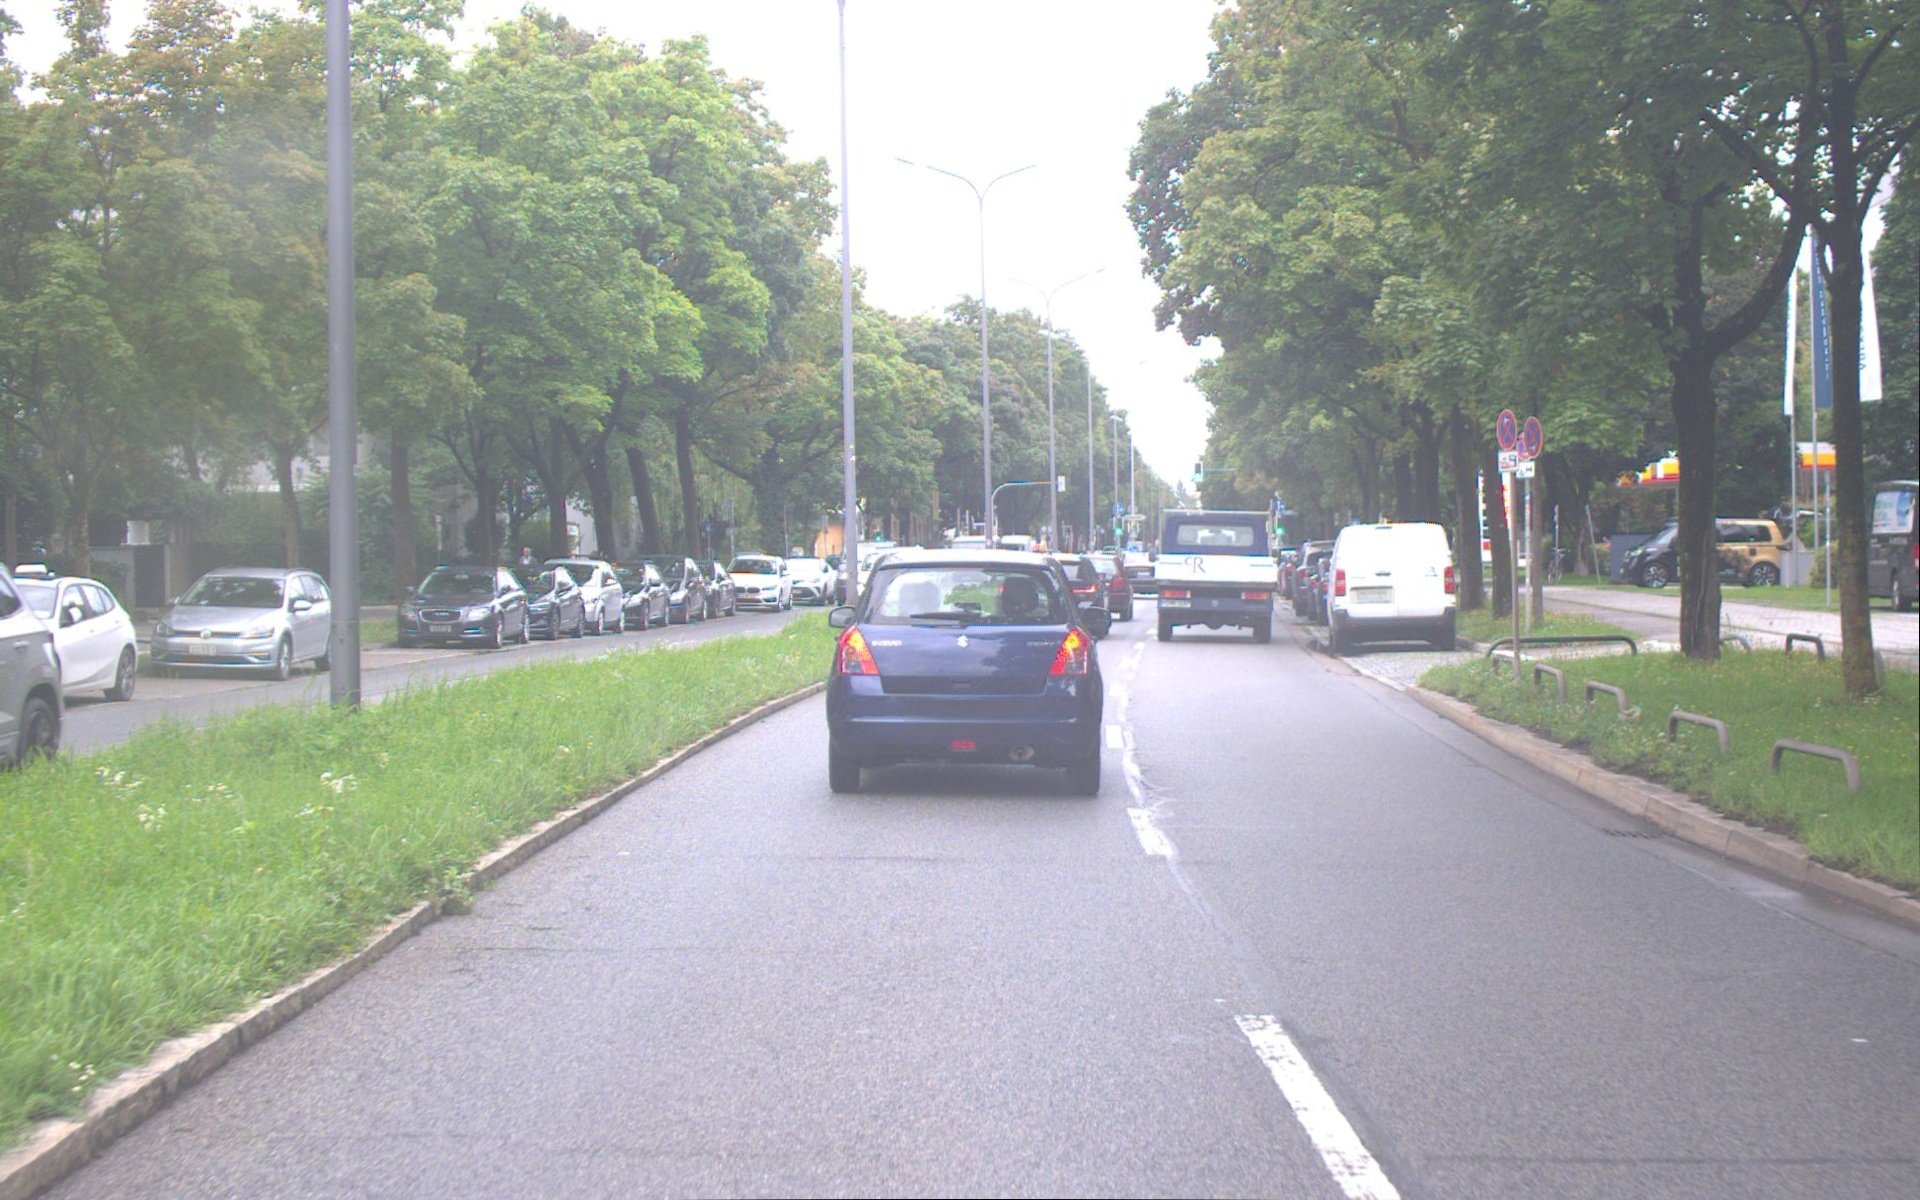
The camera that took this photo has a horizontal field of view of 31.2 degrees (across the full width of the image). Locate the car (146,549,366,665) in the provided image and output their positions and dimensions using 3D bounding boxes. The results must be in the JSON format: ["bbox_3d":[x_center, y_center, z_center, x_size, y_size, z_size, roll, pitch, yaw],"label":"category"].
[{"bbox_3d":[-9.713,0.057,47.791,1.736,1.443,4.822,2,1,4],"label":"car"}]

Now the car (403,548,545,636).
[{"bbox_3d":[-8.550,-0.170,60.772,1.580,1.418,4.362,2,1,4],"label":"car"}]

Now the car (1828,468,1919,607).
[{"bbox_3d":[17.023,-1.121,60.211,2.265,2.299,6.268,-1,1,3],"label":"car"}]

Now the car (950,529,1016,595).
[{"bbox_3d":[0.755,-1.249,110.412,1.780,2.022,4.818,-1,1,4],"label":"car"}]

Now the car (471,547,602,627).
[{"bbox_3d":[-8.155,-0.281,66.482,1.626,1.418,4.191,2,1,5],"label":"car"}]

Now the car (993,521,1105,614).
[{"bbox_3d":[1.519,-0.569,58.354,1.799,1.494,3.660,-1,1,2],"label":"car"}]

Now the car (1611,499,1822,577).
[{"bbox_3d":[21.129,-1.726,96.172,5.470,2.076,2.147,-1,1,4],"label":"car"}]

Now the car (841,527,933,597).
[{"bbox_3d":[-1.768,-0.954,84.695,1.834,1.637,4.350,-1,1,4],"label":"car"}]

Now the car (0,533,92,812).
[{"bbox_3d":[-6.517,0.452,19.463,1.766,1.619,4.376,-1,1,4],"label":"car"}]

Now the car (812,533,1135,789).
[{"bbox_3d":[0.121,0.325,22.135,1.896,1.494,3.660,1,1,1],"label":"car"}]

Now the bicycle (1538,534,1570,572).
[{"bbox_3d":[18.465,-1.463,106.861,0.748,1.179,2.246,-1,1,4],"label":"bicycle"}]

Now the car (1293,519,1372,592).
[{"bbox_3d":[8.968,-1.081,82.684,1.813,1.670,4.799,-1,1,6],"label":"car"}]

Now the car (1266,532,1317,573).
[{"bbox_3d":[12.630,-1.832,131.114,1.761,1.449,4.632,-3,1,4],"label":"car"}]

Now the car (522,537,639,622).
[{"bbox_3d":[-7.808,-0.446,70.940,1.626,1.642,3.867,2,1,5],"label":"car"}]

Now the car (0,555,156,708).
[{"bbox_3d":[-10.404,0.297,37.832,1.739,1.524,4.475,1,1,5],"label":"car"}]

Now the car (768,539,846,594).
[{"bbox_3d":[-4.800,-1.074,108.413,1.832,1.604,4.491,2,1,5],"label":"car"}]

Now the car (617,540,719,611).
[{"bbox_3d":[-6.910,-0.611,81.704,1.686,1.591,4.209,2,1,5],"label":"car"}]

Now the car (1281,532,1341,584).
[{"bbox_3d":[11.047,-1.340,108.040,1.780,1.506,4.284,-3,1,6],"label":"car"}]

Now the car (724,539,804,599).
[{"bbox_3d":[-5.583,-0.909,98.255,1.757,1.589,4.489,2,1,3],"label":"car"}]

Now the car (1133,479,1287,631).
[{"bbox_3d":[4.292,-0.781,58.291,2.419,2.435,5.085,1,1,6],"label":"car"}]

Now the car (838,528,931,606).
[{"bbox_3d":[-2.258,-1.028,104.229,2.209,2.186,5.799,-2,1,4],"label":"car"}]

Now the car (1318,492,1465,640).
[{"bbox_3d":[6.664,-0.560,53.609,1.987,2.150,5.555,-1,1,5],"label":"car"}]

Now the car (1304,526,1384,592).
[{"bbox_3d":[8.668,-0.936,77.460,1.702,1.403,4.511,-1,1,7],"label":"car"}]

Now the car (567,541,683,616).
[{"bbox_3d":[-7.381,-0.499,76.135,1.716,1.519,5.034,2,1,4],"label":"car"}]
